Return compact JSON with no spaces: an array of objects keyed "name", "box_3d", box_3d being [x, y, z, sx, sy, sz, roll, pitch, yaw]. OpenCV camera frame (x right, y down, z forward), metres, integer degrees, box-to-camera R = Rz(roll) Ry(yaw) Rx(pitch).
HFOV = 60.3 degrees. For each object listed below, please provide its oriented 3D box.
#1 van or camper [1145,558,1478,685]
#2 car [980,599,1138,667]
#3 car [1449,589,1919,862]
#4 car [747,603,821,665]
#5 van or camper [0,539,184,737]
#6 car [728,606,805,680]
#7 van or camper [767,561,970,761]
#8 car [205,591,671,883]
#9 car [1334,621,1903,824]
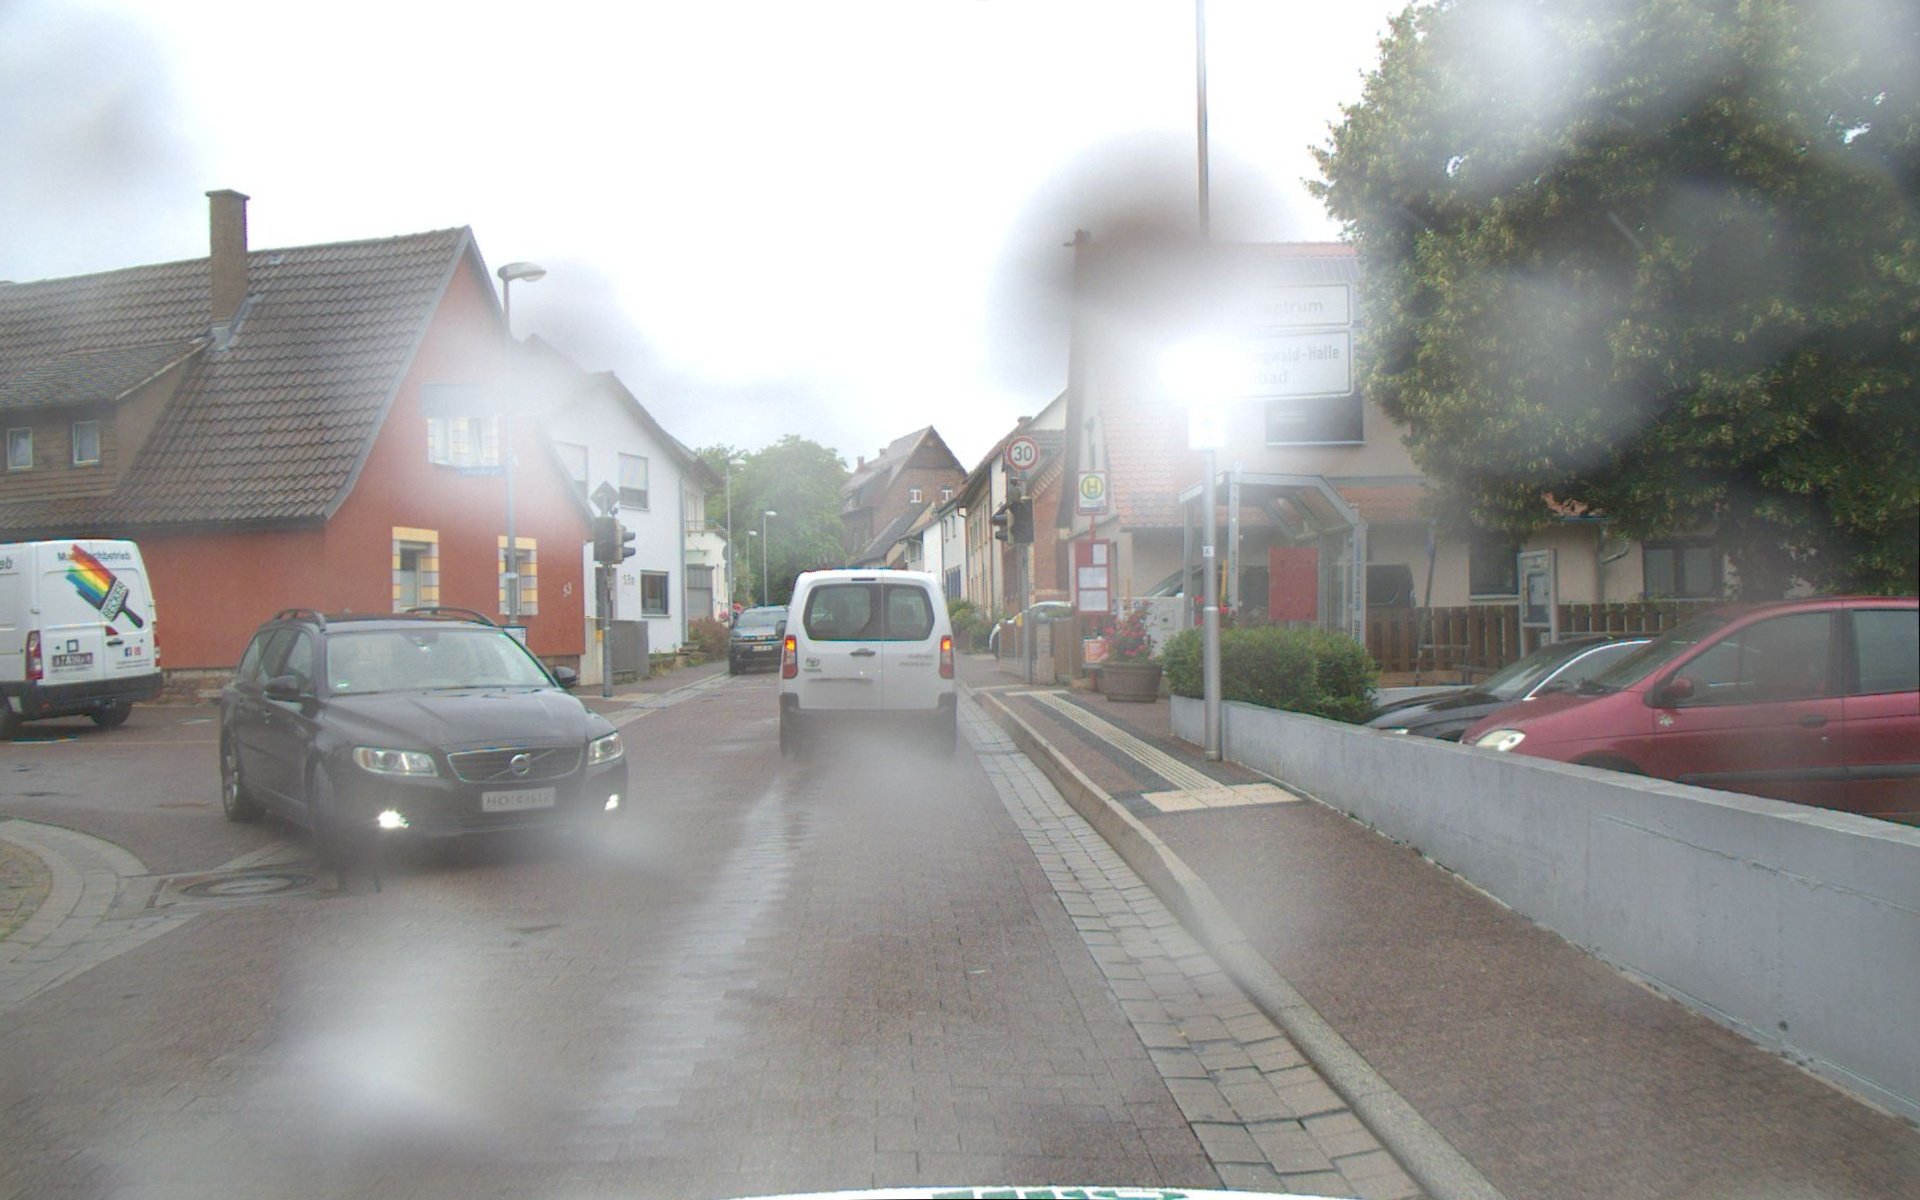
[{"name":"van or camper","box_3d":[5.652,0.349,26.868,4.971,1.957,1.873,1,-1,-6]},{"name":"car","box_3d":[2.593,0.837,44.532,1.855,1.618,4.563,0,1,-35]},{"name":"car","box_3d":[5.374,0.754,10.820,3.981,1.617,1.859,-1,0,11]},{"name":"car","box_3d":[-5.189,1.013,49.174,1.713,1.665,4.417,-4,-1,-1]},{"name":"van or camper","box_3d":[-13.444,0.521,22.716,5.038,2.478,2.211,-2,0,23]},{"name":"car","box_3d":[-4.968,1.061,42.878,1.776,1.810,4.014,0,0,-4]},{"name":"van or camper","box_3d":[-0.950,0.570,17.598,1.904,1.883,3.998,0,0,-3]},{"name":"car","box_3d":[-3.702,0.770,11.173,1.828,1.503,4.262,-3,0,-34]},{"name":"car","box_3d":[5.104,0.938,13.268,3.868,1.402,1.753,-2,0,5]}]
